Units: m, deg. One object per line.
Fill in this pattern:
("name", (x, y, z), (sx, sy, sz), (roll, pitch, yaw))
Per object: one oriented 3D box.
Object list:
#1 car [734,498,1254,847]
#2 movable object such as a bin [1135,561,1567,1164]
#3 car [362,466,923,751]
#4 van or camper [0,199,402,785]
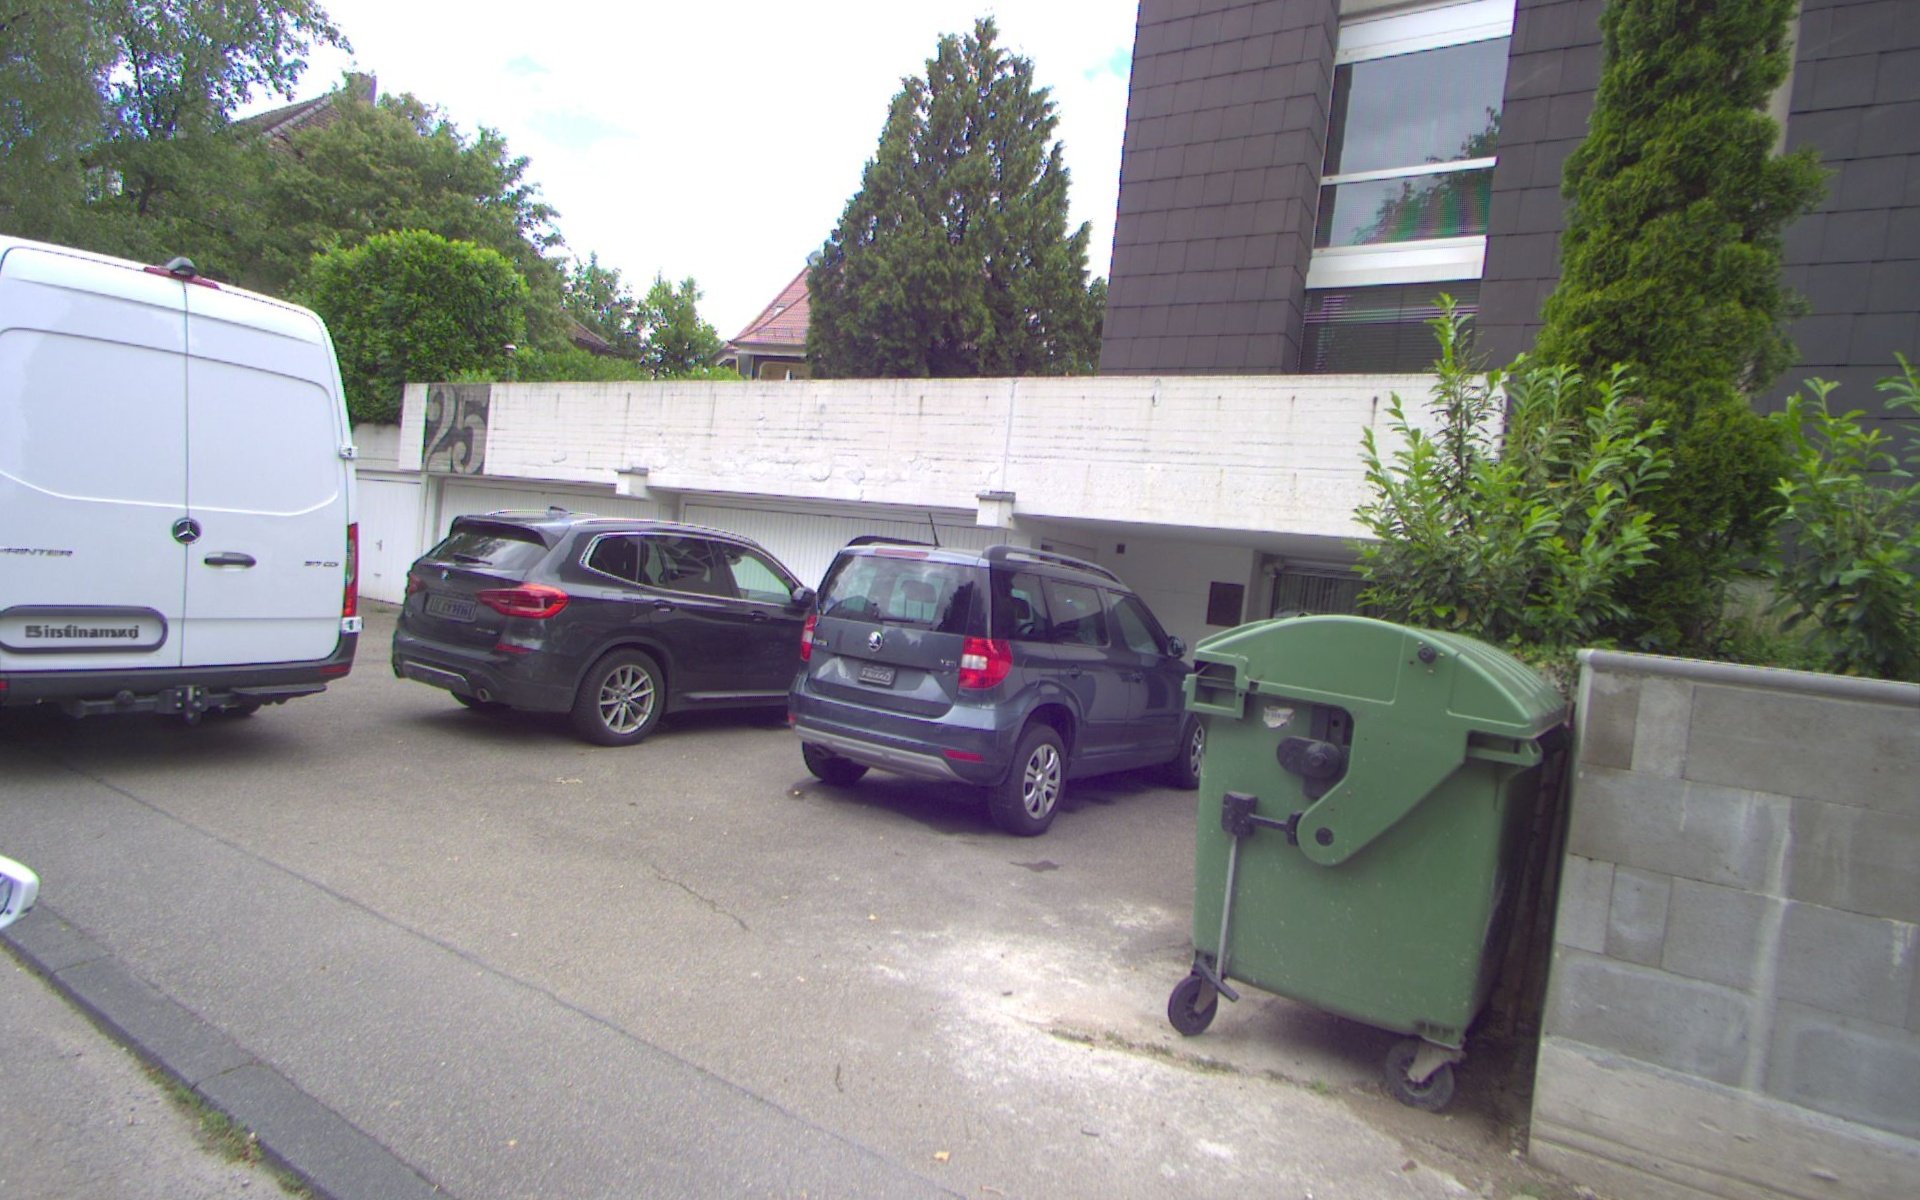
("car", (0.530, 0.452, 7.405), (1.804, 1.772, 3.973), (7, 1, 35))
("movable object such as a bin", (1.348, 0.726, 3.399), (1.016, 1.550, 1.034), (7, 1, 33))
("car", (-2.366, 0.122, 8.686), (1.710, 1.772, 4.419), (7, 1, 33))
("van or camper", (-6.709, -0.737, 6.909), (6.432, 2.653, 1.995), (7, 1, 32))
